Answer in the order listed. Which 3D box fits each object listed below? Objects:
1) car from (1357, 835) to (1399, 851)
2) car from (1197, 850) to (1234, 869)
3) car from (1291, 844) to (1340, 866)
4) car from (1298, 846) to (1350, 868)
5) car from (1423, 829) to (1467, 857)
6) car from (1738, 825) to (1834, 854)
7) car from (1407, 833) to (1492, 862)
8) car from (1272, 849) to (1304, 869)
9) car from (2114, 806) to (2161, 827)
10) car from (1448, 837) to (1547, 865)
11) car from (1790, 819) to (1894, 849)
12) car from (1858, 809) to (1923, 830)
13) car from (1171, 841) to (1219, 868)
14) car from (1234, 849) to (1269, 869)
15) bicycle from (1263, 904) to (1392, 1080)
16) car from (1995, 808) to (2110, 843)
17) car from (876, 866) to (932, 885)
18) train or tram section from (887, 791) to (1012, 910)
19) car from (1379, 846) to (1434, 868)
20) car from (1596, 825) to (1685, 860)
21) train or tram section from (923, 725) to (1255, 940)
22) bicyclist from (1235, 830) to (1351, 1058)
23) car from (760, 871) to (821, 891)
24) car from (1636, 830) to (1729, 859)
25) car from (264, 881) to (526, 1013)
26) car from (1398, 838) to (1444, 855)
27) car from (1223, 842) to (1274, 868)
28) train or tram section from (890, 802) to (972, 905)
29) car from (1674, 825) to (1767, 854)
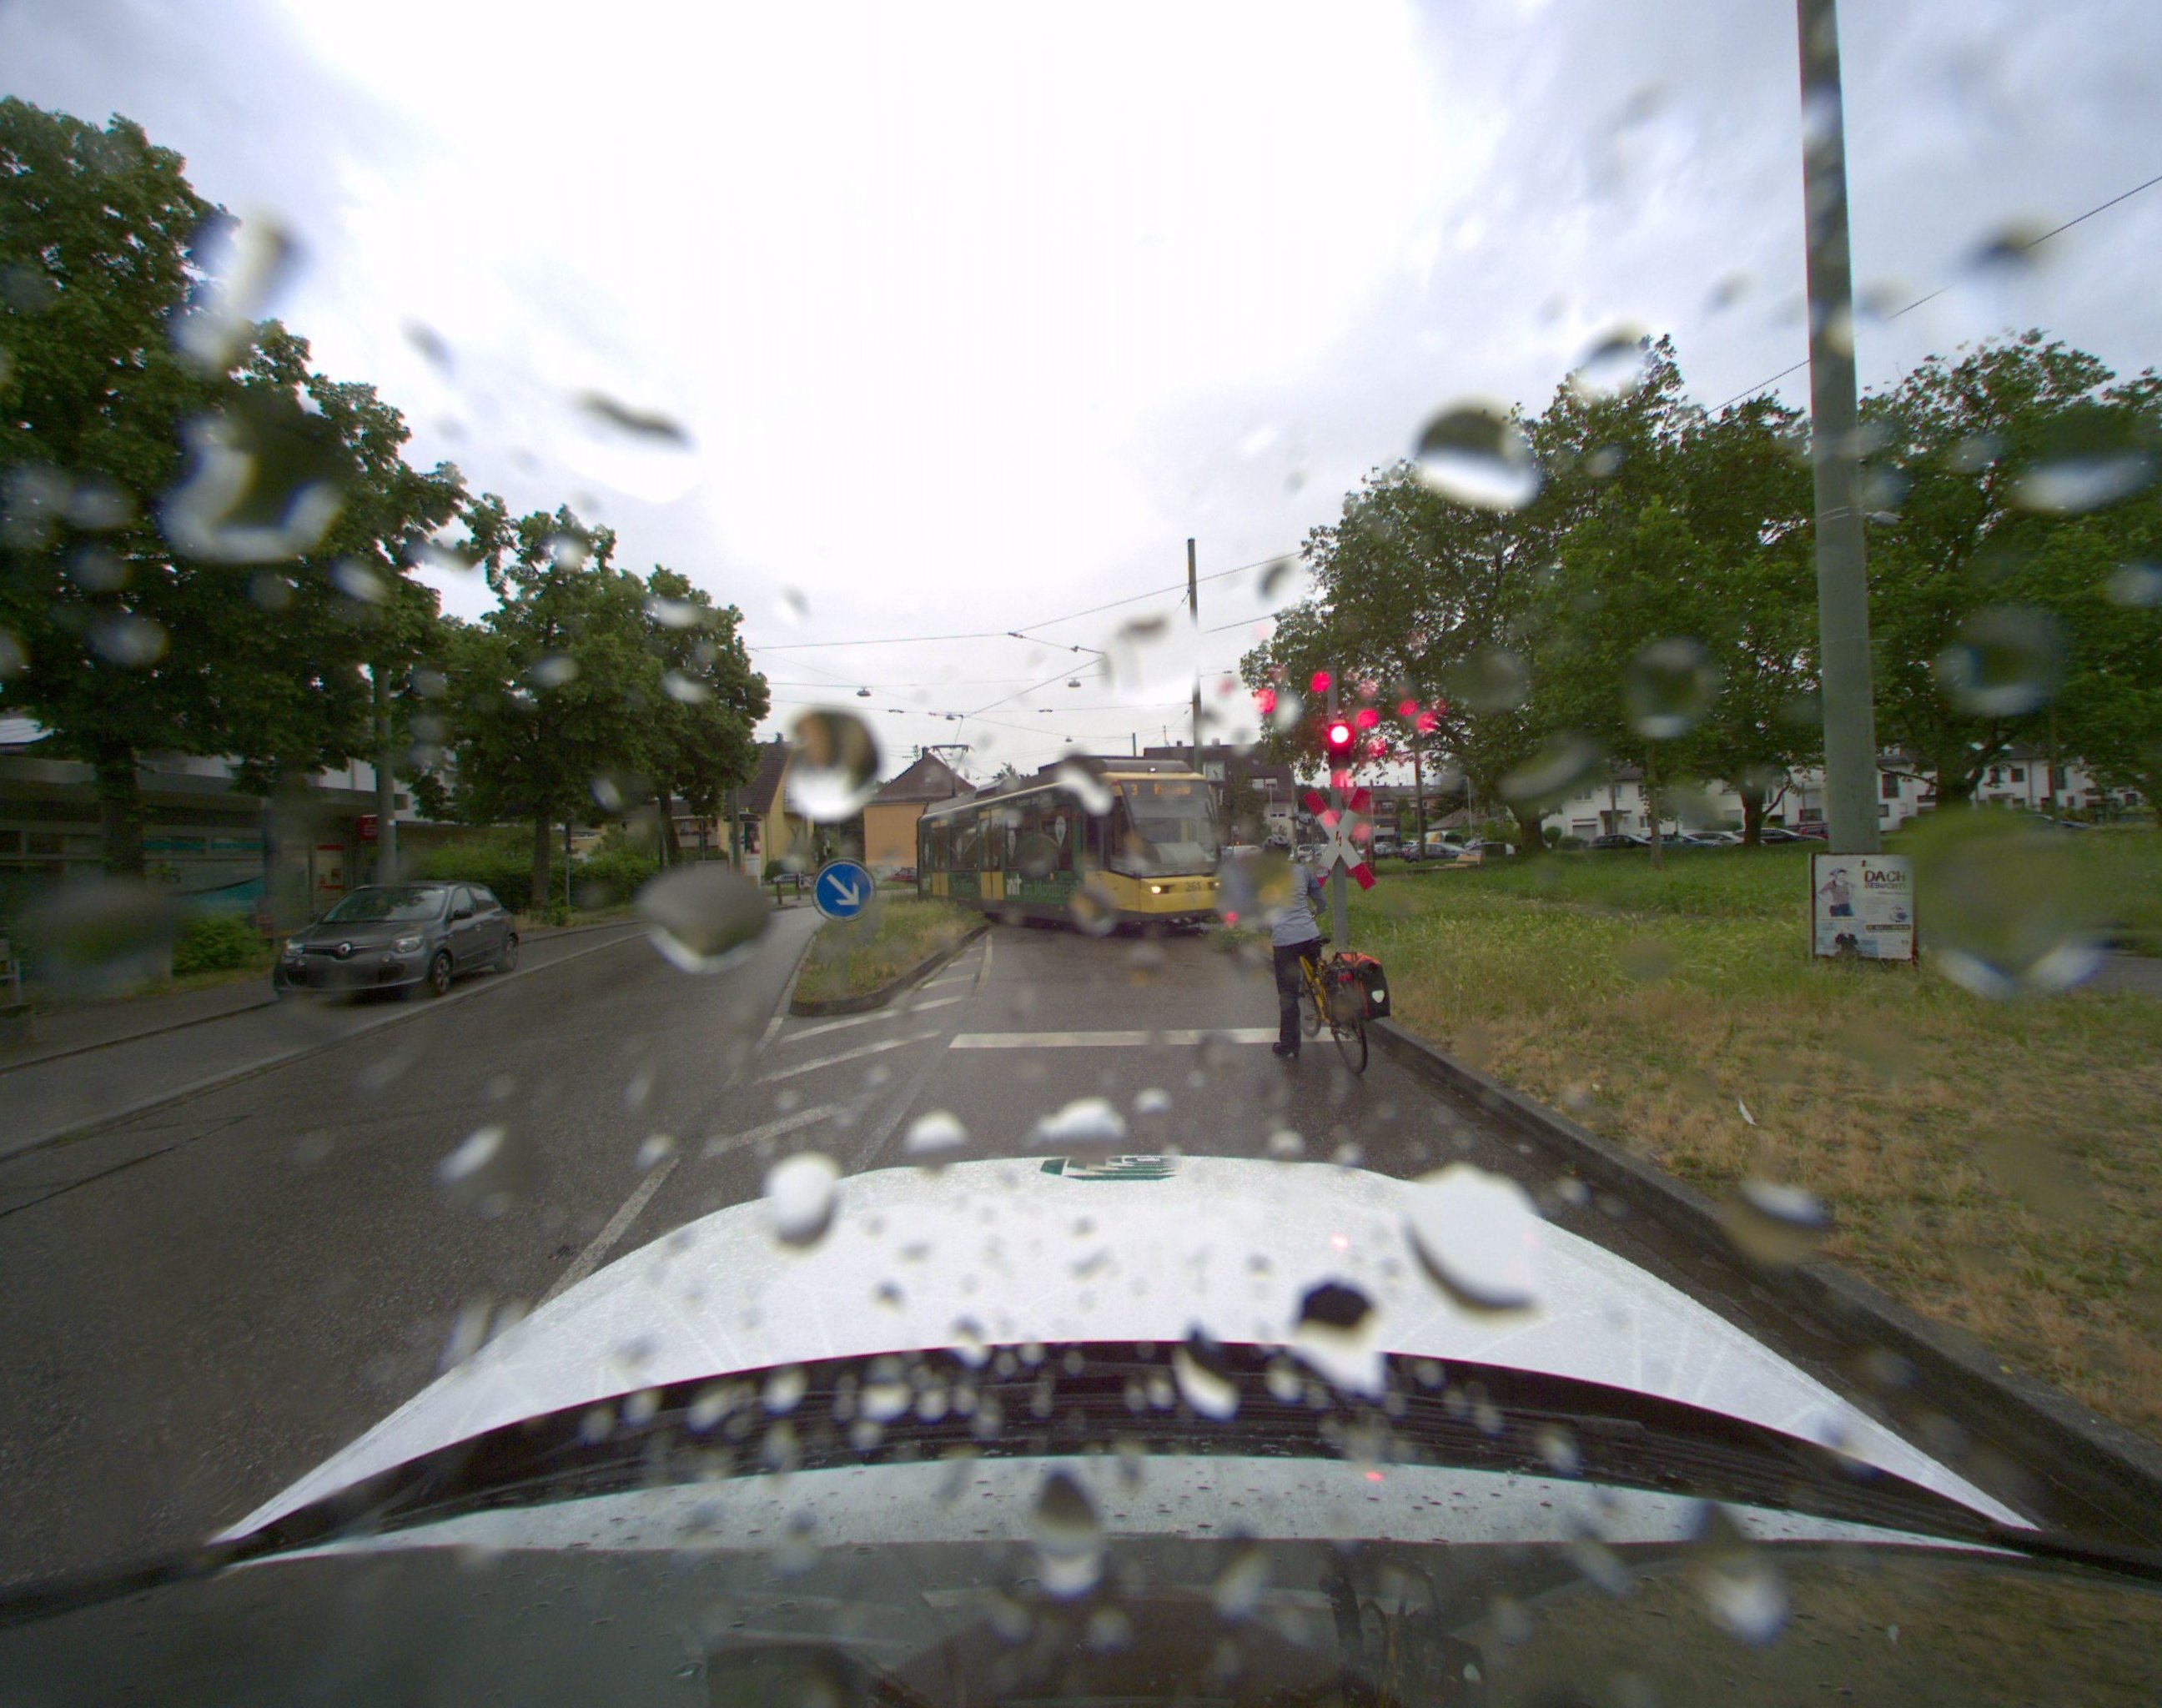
[{"bbox_3d":[33.149,-1.227,91.038,3.968,1.791,2.003,0,-1,4],"label":"car"},{"bbox_3d":[11.631,0.481,70.250,1.975,1.640,4.024,-1,-1,27],"label":"car"},{"bbox_3d":[21.815,0.088,75.930,3.974,1.951,1.999,0,-1,-1],"label":"car"},{"bbox_3d":[19.317,0.258,64.812,3.670,1.701,1.891,0,-1,2],"label":"car"},{"bbox_3d":[32.578,-0.966,72.995,1.987,2.443,4.354,0,-1,1],"label":"car"},{"bbox_3d":[39.265,-0.778,45.409,1.821,1.495,3.867,0,-1,-44],"label":"car"},{"bbox_3d":[20.260,-0.320,44.904,1.821,1.495,3.867,0,-1,-44],"label":"car"},{"bbox_3d":[17.980,0.440,70.707,1.823,1.640,4.024,-1,-1,27],"label":"car"},{"bbox_3d":[89.730,-3.157,68.326,3.670,1.660,1.891,0,-1,2],"label":"car"},{"bbox_3d":[20.505,-0.128,40.250,3.964,1.285,1.851,0,-1,9],"label":"car"},{"bbox_3d":[42.628,-1.086,45.683,1.814,1.495,3.881,0,-1,-27],"label":"car"},{"bbox_3d":[70.001,-2.994,70.451,3.670,1.660,1.891,0,-1,2],"label":"car"},{"bbox_3d":[11.185,0.026,79.720,4.362,2.566,2.008,-1,-1,16],"label":"car"},{"bbox_3d":[14.746,0.460,70.394,1.975,1.640,4.024,-1,-1,27],"label":"car"},{"bbox_3d":[1.791,0.947,6.142,0.444,1.004,1.728,-2,0,1],"label":"bicycle"},{"bbox_3d":[54.635,-1.574,45.858,1.815,1.765,3.879,0,-1,-29],"label":"car"},{"bbox_3d":[-13.658,1.662,63.077,3.979,1.456,1.831,0,-1,-5],"label":"car"},{"bbox_3d":[-4.517,-0.084,27.152,2.774,3.553,4.947,-2,-1,-25],"label":"train or tram section"},{"bbox_3d":[25.898,0.212,64.955,3.670,1.701,1.891,0,-1,2],"label":"car"},{"bbox_3d":[30.542,-0.609,44.534,1.821,1.798,3.721,0,-1,-44],"label":"car"},{"bbox_3d":[-0.799,-0.265,19.506,2.775,3.553,12.099,-2,0,-26],"label":"train or tram section"},{"bbox_3d":[1.592,0.646,6.249,0.665,1.626,0.853,0,-1,1],"label":"bicyclist"},{"bbox_3d":[-22.104,2.041,62.033,3.979,1.456,1.831,0,-1,-5],"label":"car"},{"bbox_3d":[33.204,-0.494,44.992,1.821,1.495,3.867,0,-1,-44],"label":"car"},{"bbox_3d":[-9.689,1.198,11.883,1.621,1.496,3.645,0,-1,-18],"label":"car"},{"bbox_3d":[35.430,-0.773,84.947,3.971,1.640,1.847,0,-1,2],"label":"car"},{"bbox_3d":[15.633,0.078,76.043,4.381,2.325,2.000,0,-1,0],"label":"car"},{"bbox_3d":[-6.270,0.035,35.450,2.759,3.553,13.094,-2,0,-8],"label":"train or tram section"},{"bbox_3d":[35.707,-0.752,45.522,1.821,1.495,3.867,0,-1,-44],"label":"car"}]
